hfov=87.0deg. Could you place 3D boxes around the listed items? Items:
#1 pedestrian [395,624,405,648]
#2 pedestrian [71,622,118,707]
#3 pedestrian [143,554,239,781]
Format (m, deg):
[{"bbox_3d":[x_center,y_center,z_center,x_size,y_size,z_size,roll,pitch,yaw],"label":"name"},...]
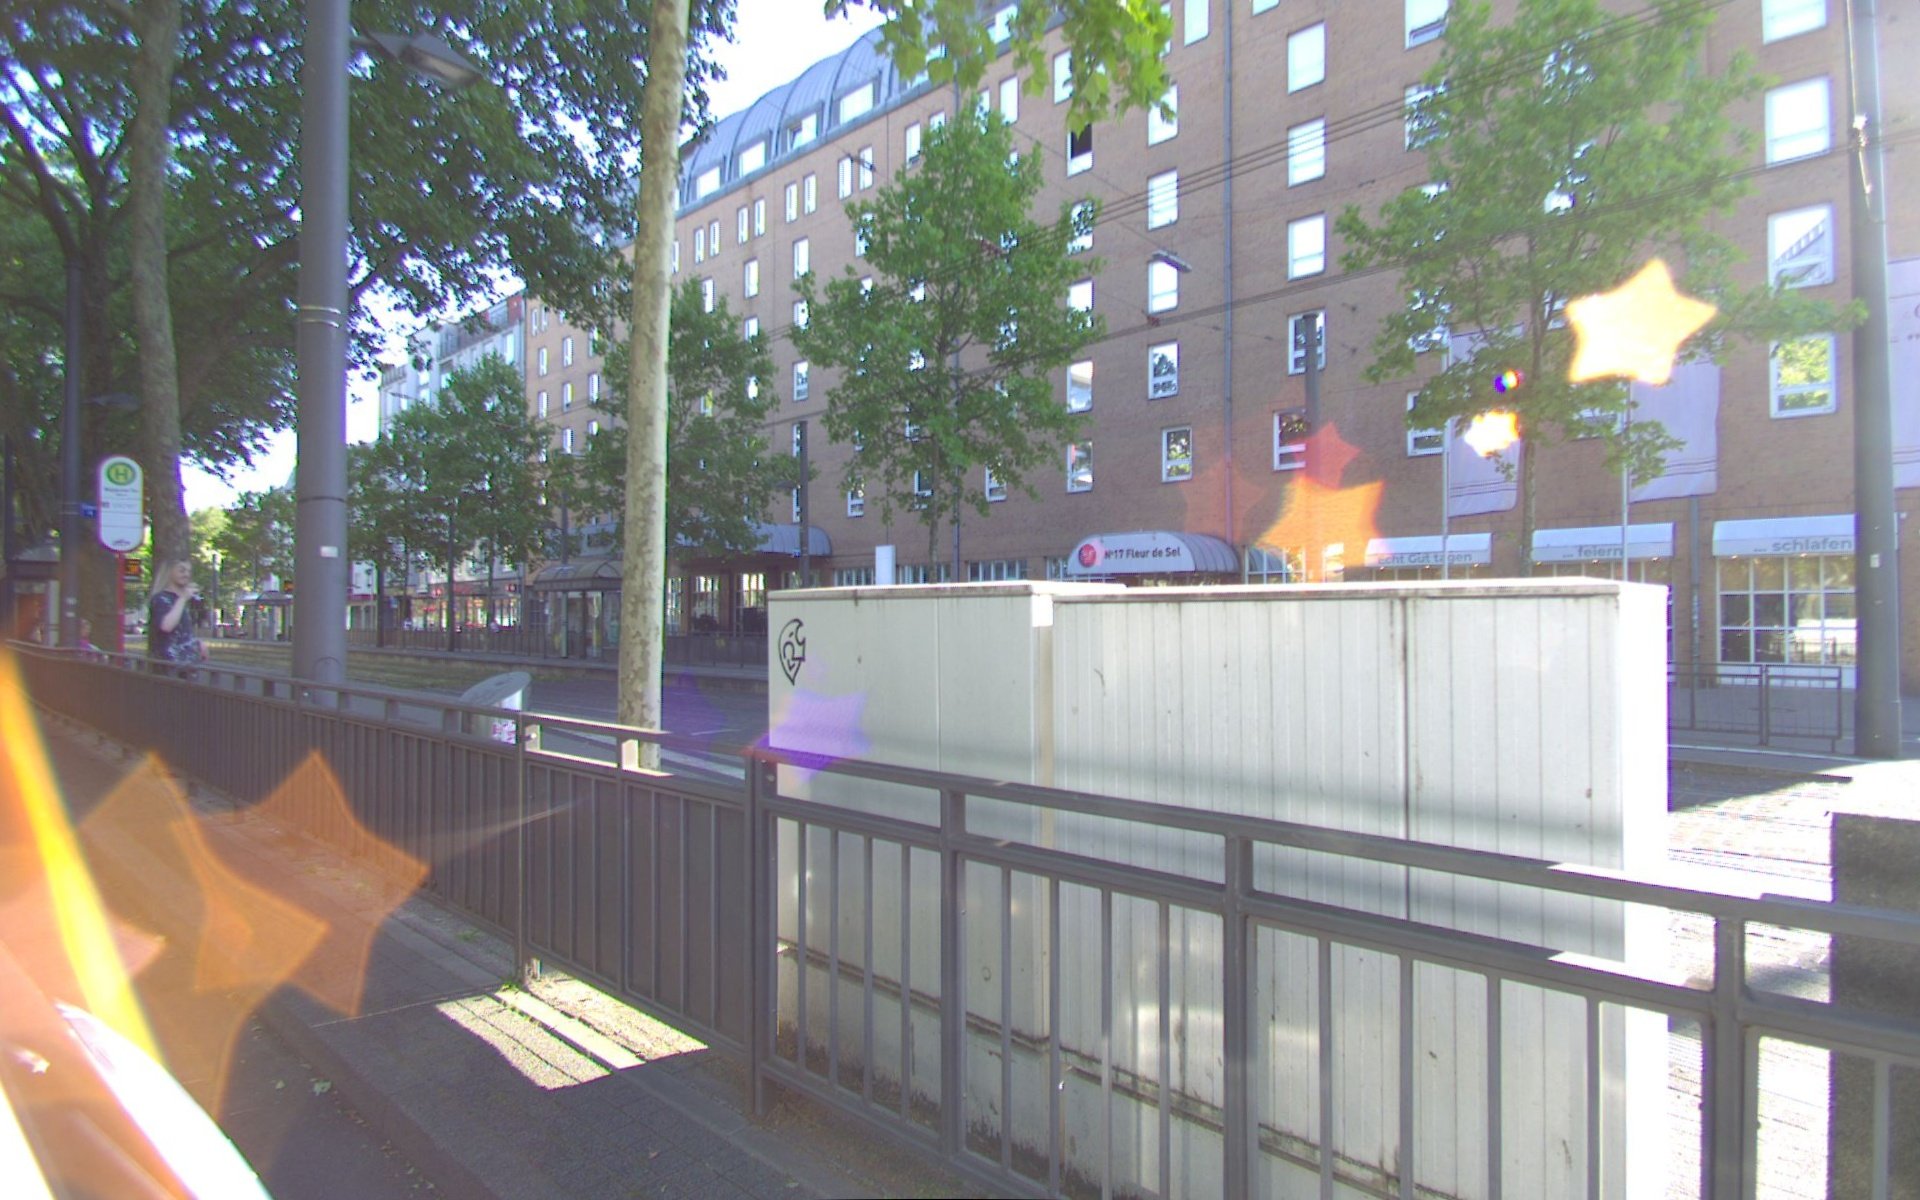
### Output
[{"bbox_3d":[-41.106,2.616,74.270,0.574,1.748,0.497,-2,-2,43],"label":"pedestrian"},{"bbox_3d":[-13.959,1.023,16.331,0.534,1.327,0.525,-1,0,-37],"label":"pedestrian"},{"bbox_3d":[-6.551,0.550,8.624,0.524,1.848,0.536,-1,0,41],"label":"pedestrian"}]
